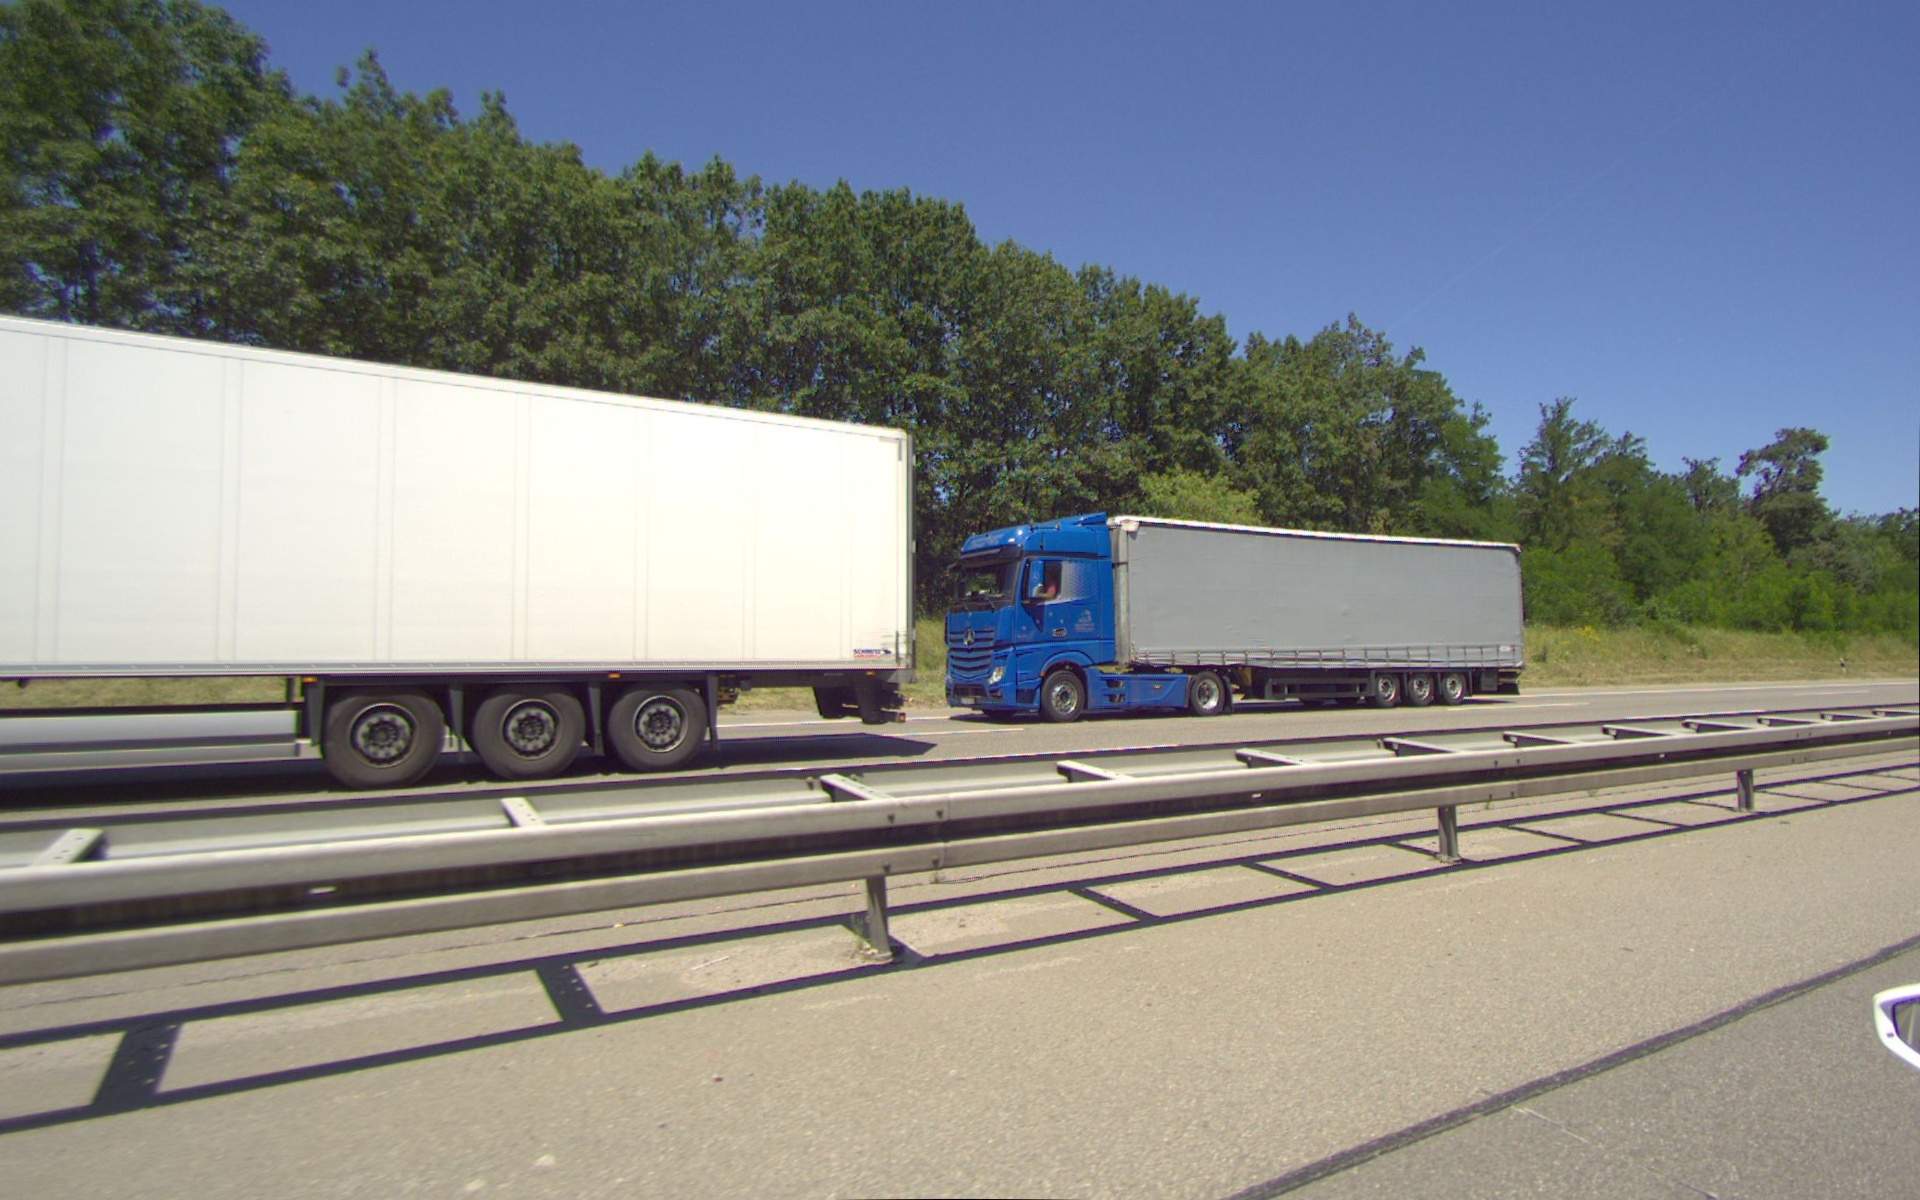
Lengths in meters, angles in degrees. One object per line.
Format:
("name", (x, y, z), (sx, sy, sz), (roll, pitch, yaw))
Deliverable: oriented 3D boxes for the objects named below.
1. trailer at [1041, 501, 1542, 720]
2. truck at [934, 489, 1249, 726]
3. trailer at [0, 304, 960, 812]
("trailer", (8.607, 0.414, 24.187), (14.428, 4.223, 2.656), (1, -3, -31))
("truck", (2.759, 0.252, 20.655), (6.118, 4.223, 2.656), (1, -3, -31))
("trailer", (-6.230, -0.231, 10.379), (12.980, 4.042, 2.656), (1, -3, -31))
